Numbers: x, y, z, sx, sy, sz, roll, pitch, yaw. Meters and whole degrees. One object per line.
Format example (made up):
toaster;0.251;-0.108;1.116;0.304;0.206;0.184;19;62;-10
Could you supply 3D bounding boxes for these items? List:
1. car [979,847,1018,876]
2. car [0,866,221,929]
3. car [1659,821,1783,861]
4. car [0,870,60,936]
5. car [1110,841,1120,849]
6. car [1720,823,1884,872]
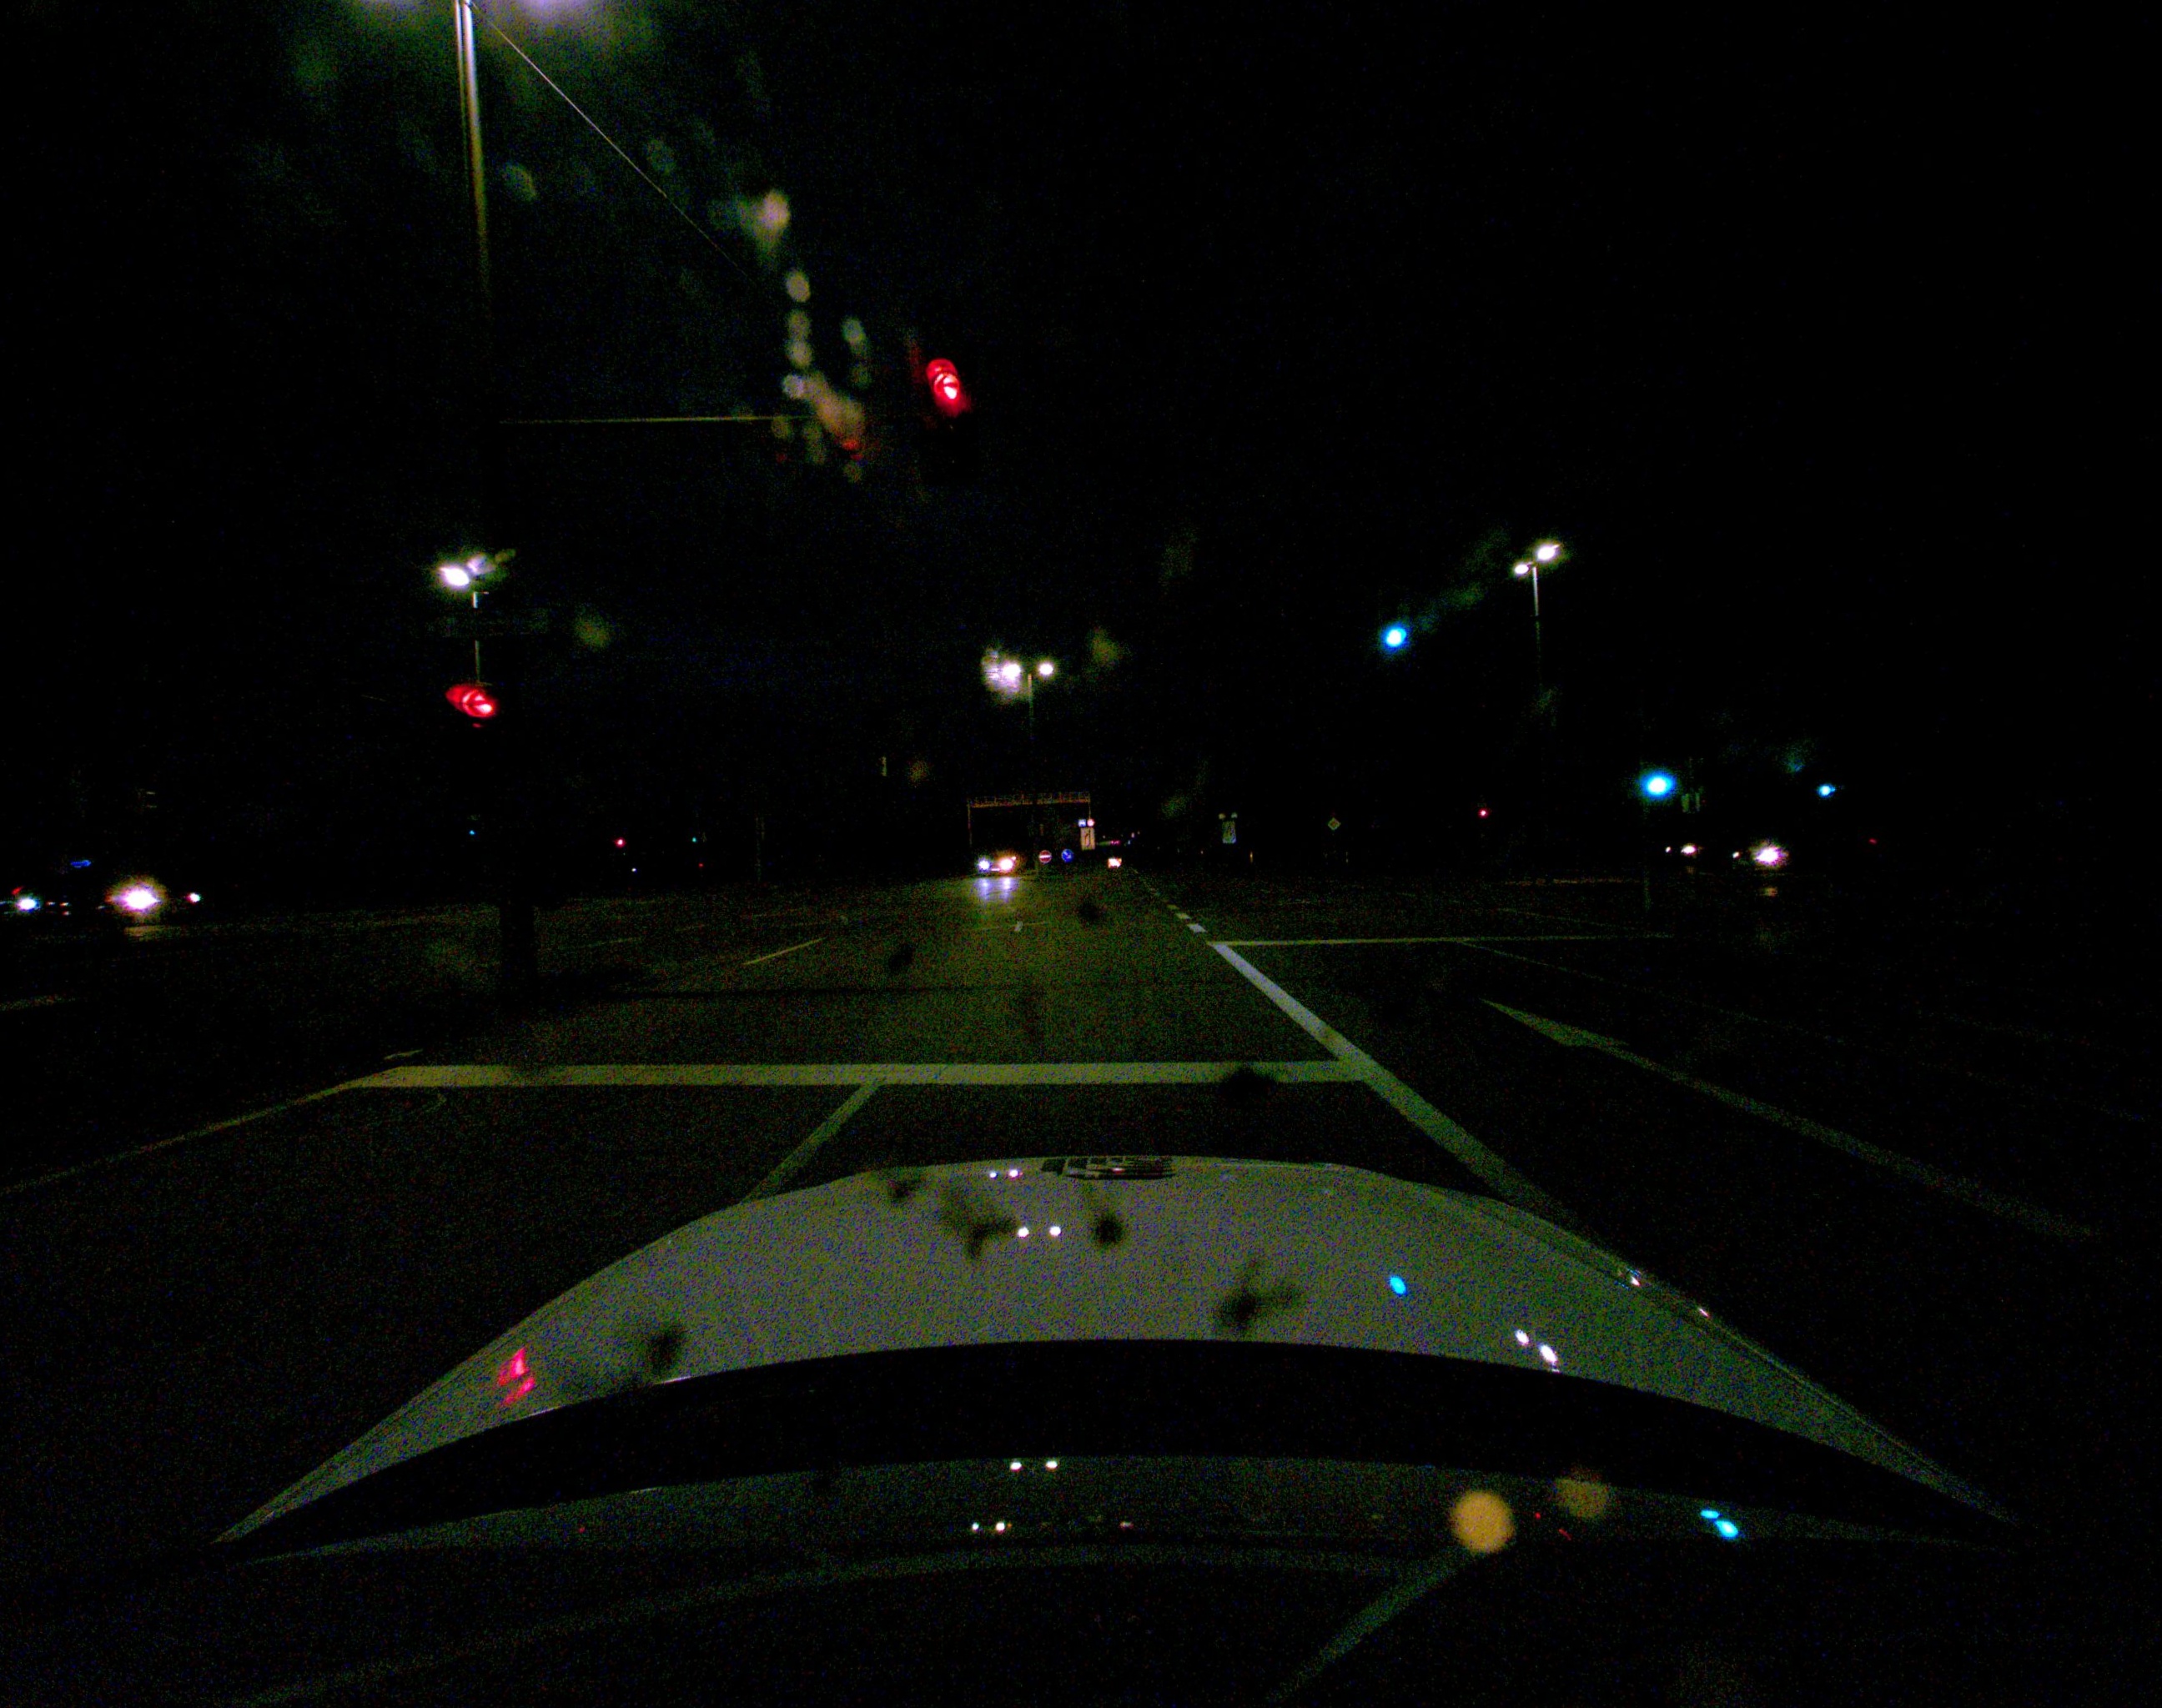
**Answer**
car;-5.180;0.425;51.746;1.987;1.698;4.001;-1;0;1
car;-26.897;1.178;22.629;4.029;1.537;1.728;-2;0;-2
car;27.839;-0.559;35.495;3.976;1.569;1.899;-2;0;-2
car;-27.282;1.222;19.150;4.299;1.537;1.729;-2;0;0
car;7.633;-1.956;182.179;1.999;1.611;3.849;-2;-1;4
car;25.353;-0.243;28.736;4.062;1.569;2.001;-1;0;-2
